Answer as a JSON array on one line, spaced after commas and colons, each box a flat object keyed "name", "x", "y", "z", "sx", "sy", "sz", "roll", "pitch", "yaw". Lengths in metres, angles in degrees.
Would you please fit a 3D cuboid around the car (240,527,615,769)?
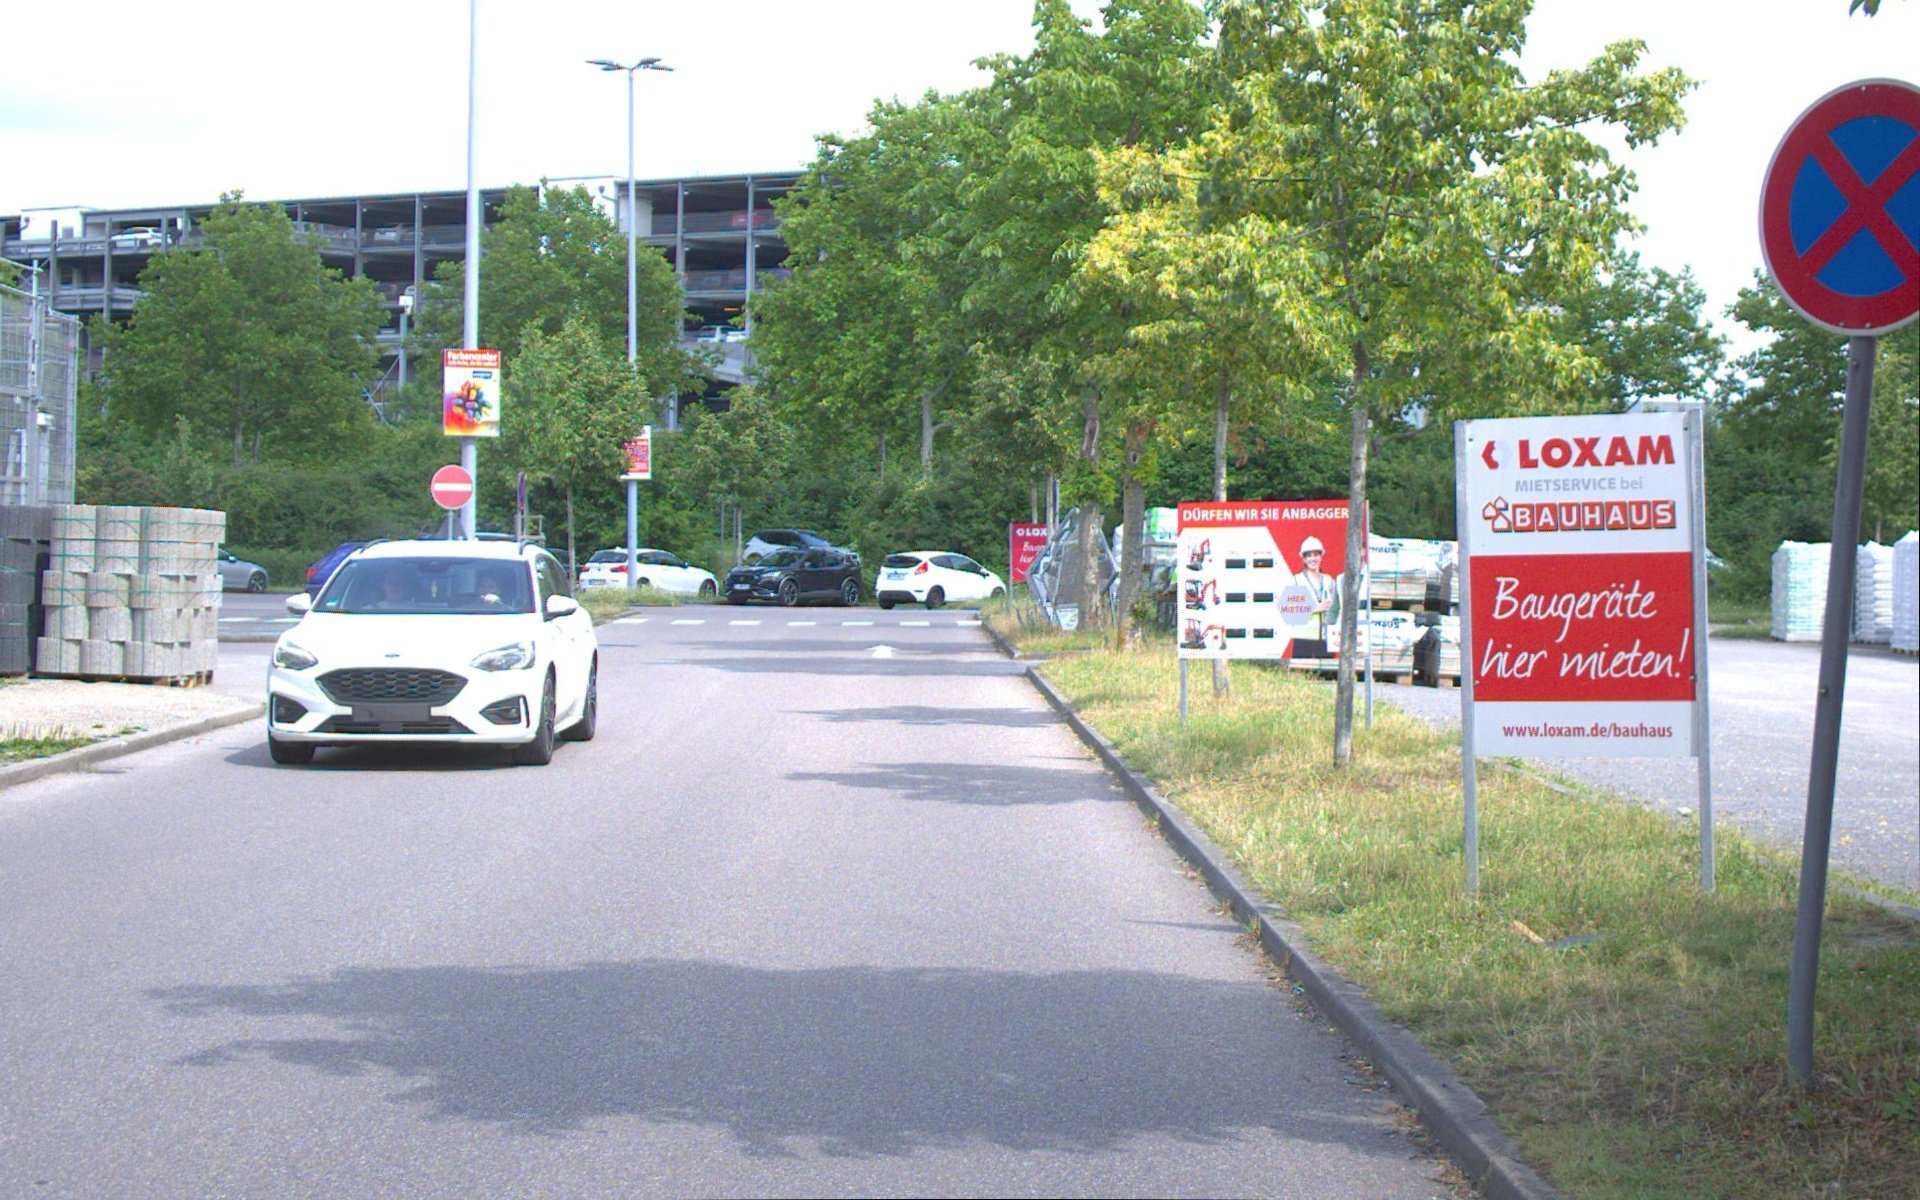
[{"name": "car", "x": -3.532, "y": 0.254, "z": 23.537, "sx": 1.803, "sy": 1.459, "sz": 4.329, "roll": 1, "pitch": 1, "yaw": 1}]

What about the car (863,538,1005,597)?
[{"name": "car", "x": -0.625, "y": -0.807, "z": 85.799, "sx": 1.668, "sy": 1.407, "sz": 3.549, "roll": 2, "pitch": 1, "yaw": 38}]

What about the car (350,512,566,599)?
[{"name": "car", "x": -9.875, "y": -0.874, "z": 67.765, "sx": 3.950, "sy": 1.619, "sz": 1.736, "roll": 1, "pitch": 1, "yaw": 1}]

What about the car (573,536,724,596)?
[{"name": "car", "x": -8.245, "y": -0.889, "z": 91.309, "sx": 1.688, "sy": 1.504, "sz": 4.073, "roll": -2, "pitch": -1, "yaw": 37}]

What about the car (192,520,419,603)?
[{"name": "car", "x": -11.725, "y": -0.698, "z": 61.752, "sx": 3.750, "sy": 1.363, "sz": 1.621, "roll": 2, "pitch": 1, "yaw": -1}]

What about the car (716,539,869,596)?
[{"name": "car", "x": -4.304, "y": -0.832, "z": 88.958, "sx": 1.731, "sy": 1.405, "sz": 4.234, "roll": 2, "pitch": 1, "yaw": 34}]
